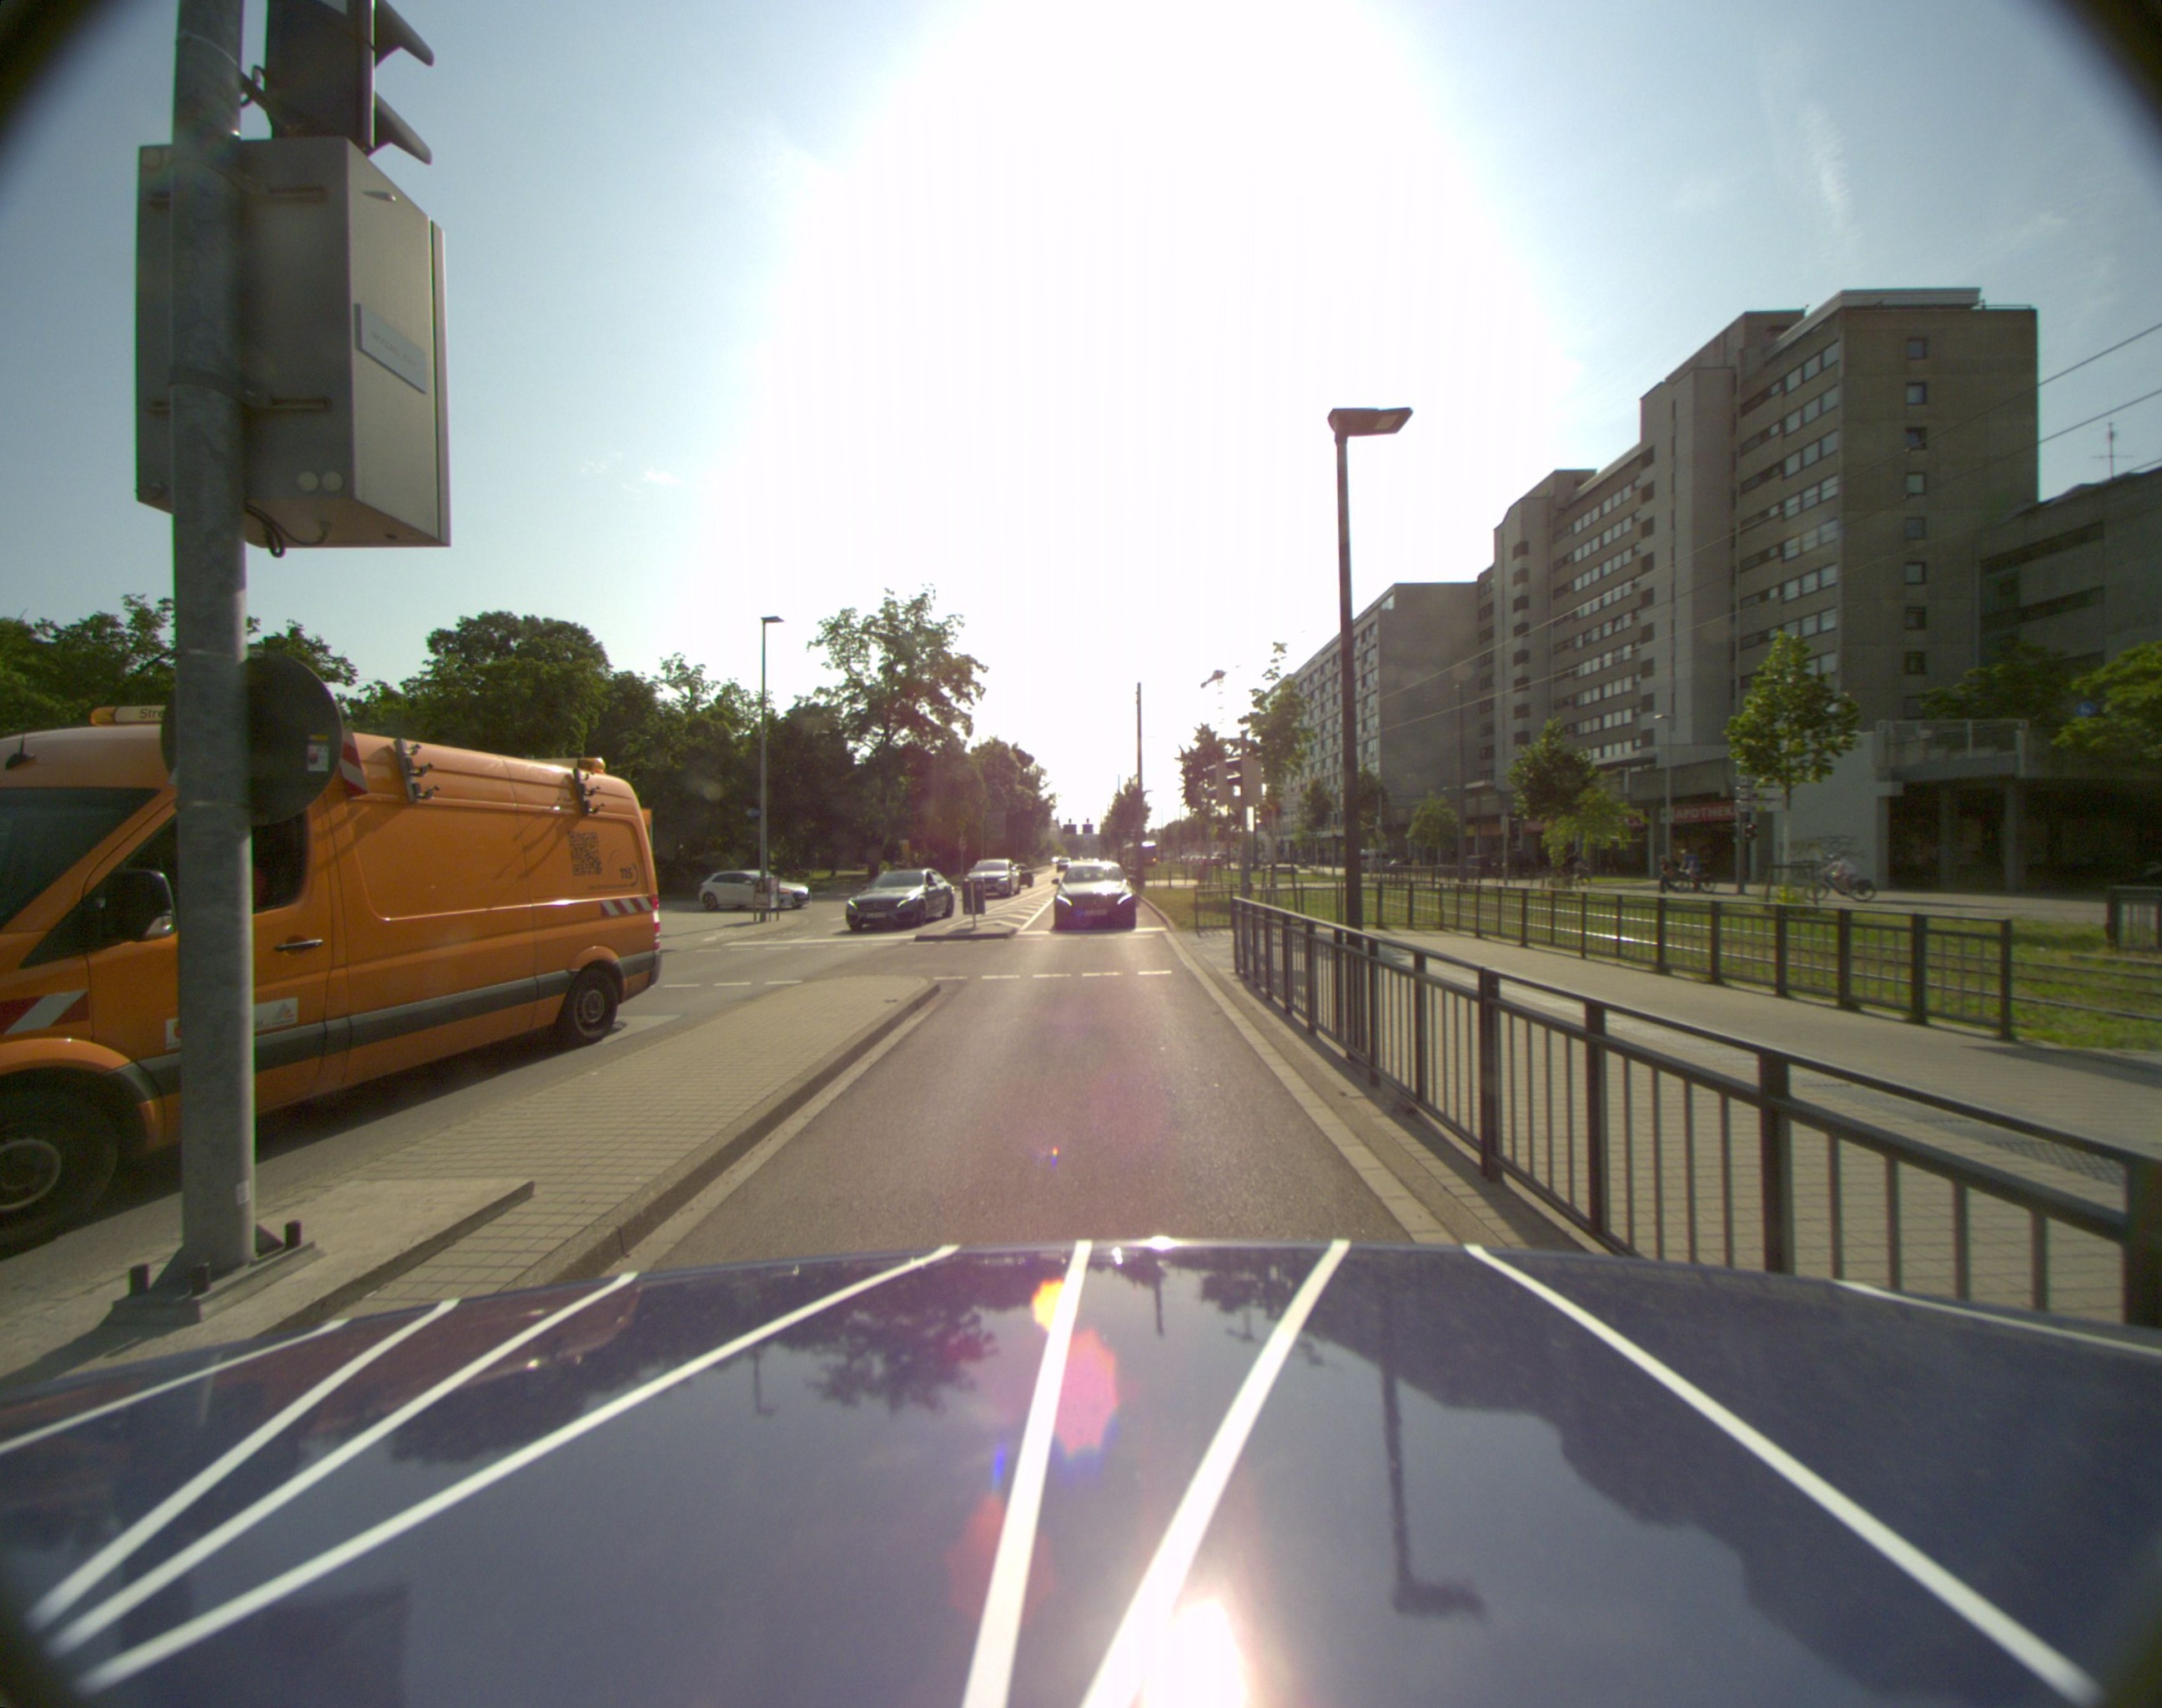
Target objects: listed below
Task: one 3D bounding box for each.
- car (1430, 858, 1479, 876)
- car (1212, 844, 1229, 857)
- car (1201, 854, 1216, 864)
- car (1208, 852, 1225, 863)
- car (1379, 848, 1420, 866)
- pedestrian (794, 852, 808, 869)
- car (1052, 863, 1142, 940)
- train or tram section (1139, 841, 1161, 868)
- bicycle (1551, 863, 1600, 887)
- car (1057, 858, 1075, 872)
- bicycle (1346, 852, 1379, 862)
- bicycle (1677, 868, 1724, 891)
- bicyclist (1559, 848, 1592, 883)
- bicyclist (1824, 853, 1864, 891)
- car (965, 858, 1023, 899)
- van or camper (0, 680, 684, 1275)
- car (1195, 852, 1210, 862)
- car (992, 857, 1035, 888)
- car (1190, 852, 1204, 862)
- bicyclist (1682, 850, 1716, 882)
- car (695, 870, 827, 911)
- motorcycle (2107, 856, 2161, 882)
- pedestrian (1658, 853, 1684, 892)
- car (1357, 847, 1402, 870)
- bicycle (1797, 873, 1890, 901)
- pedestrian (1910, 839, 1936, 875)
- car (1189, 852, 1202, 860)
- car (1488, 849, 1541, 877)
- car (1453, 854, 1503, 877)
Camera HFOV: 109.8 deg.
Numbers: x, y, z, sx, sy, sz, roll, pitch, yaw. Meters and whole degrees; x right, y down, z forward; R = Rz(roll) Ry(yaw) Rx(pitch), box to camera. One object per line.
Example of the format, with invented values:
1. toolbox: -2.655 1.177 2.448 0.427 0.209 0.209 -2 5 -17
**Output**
1. car: 29.980 1.029 60.933 4.119 1.237 1.874 -3 0 -39
2. car: 25.072 -0.645 137.066 2.051 2.225 5.334 -1 0 0
3. car: 18.748 0.702 112.122 1.745 1.478 3.642 0 0 3
4. car: 18.593 0.472 104.238 1.811 1.472 4.001 0 0 3
5. car: 29.736 0.273 70.927 2.097 1.573 4.008 -3 -1 44
6. pedestrian: -31.167 0.704 84.464 0.983 1.820 1.072 0 1 31
7. car: 0.366 0.976 17.540 1.759 1.437 4.618 -2 0 1
8. train or tram section: 9.182 0.037 101.307 2.500 3.409 6.669 0 0 2
9. bicycle: 20.801 0.890 31.972 1.610 0.929 0.558 2 0 13
10. car: -1.662 1.258 86.754 1.904 1.584 4.000 0 0 1
11. bicycle: 37.735 0.400 101.761 3.994 1.358 1.127 0 1 10
12. bicycle: 28.370 1.167 34.809 1.667 0.985 0.685 0 0 -3
13. bicyclist: 20.800 0.487 31.980 0.972 1.387 0.547 2 0 12
14. bicyclist: 28.154 0.653 28.050 0.911 1.377 0.705 0 -1 35
15. car: -3.692 1.002 32.856 1.897 1.561 4.250 -2 0 1
16. van or camper: -5.398 0.540 5.118 1.991 2.457 6.062 -2 0 2
17. car: 18.911 0.463 118.503 1.811 1.565 4.001 0 0 3
18. car: -3.691 0.986 42.308 1.998 1.630 4.000 -1 0 1
19. car: 18.937 0.419 123.981 1.811 1.565 4.001 0 0 3
20. bicyclist: 28.301 0.554 34.805 1.024 1.432 0.685 0 0 -3
21. car: -11.948 1.321 28.415 4.273 1.398 2.003 -1 0 19
22. motorcycle: 43.635 0.609 31.151 0.494 1.011 1.946 0 0 1
23. pedestrian: 25.807 0.816 33.255 0.660 1.680 0.645 0 1 4
24. car: 30.424 0.403 77.334 5.419 2.295 1.879 -1 1 -39
25. bicycle: 28.128 1.201 28.079 2.340 0.993 0.709 0 1 34
26. pedestrian: 41.847 0.159 37.769 0.699 1.766 0.624 0 0 -12
27. car: 19.532 0.336 130.216 1.811 1.466 4.001 0 0 3
28. car: 30.752 0.611 53.883 4.119 1.957 1.874 -1 1 -39
29. car: 29.968 0.854 57.350 4.119 1.597 1.874 -1 0 -39
